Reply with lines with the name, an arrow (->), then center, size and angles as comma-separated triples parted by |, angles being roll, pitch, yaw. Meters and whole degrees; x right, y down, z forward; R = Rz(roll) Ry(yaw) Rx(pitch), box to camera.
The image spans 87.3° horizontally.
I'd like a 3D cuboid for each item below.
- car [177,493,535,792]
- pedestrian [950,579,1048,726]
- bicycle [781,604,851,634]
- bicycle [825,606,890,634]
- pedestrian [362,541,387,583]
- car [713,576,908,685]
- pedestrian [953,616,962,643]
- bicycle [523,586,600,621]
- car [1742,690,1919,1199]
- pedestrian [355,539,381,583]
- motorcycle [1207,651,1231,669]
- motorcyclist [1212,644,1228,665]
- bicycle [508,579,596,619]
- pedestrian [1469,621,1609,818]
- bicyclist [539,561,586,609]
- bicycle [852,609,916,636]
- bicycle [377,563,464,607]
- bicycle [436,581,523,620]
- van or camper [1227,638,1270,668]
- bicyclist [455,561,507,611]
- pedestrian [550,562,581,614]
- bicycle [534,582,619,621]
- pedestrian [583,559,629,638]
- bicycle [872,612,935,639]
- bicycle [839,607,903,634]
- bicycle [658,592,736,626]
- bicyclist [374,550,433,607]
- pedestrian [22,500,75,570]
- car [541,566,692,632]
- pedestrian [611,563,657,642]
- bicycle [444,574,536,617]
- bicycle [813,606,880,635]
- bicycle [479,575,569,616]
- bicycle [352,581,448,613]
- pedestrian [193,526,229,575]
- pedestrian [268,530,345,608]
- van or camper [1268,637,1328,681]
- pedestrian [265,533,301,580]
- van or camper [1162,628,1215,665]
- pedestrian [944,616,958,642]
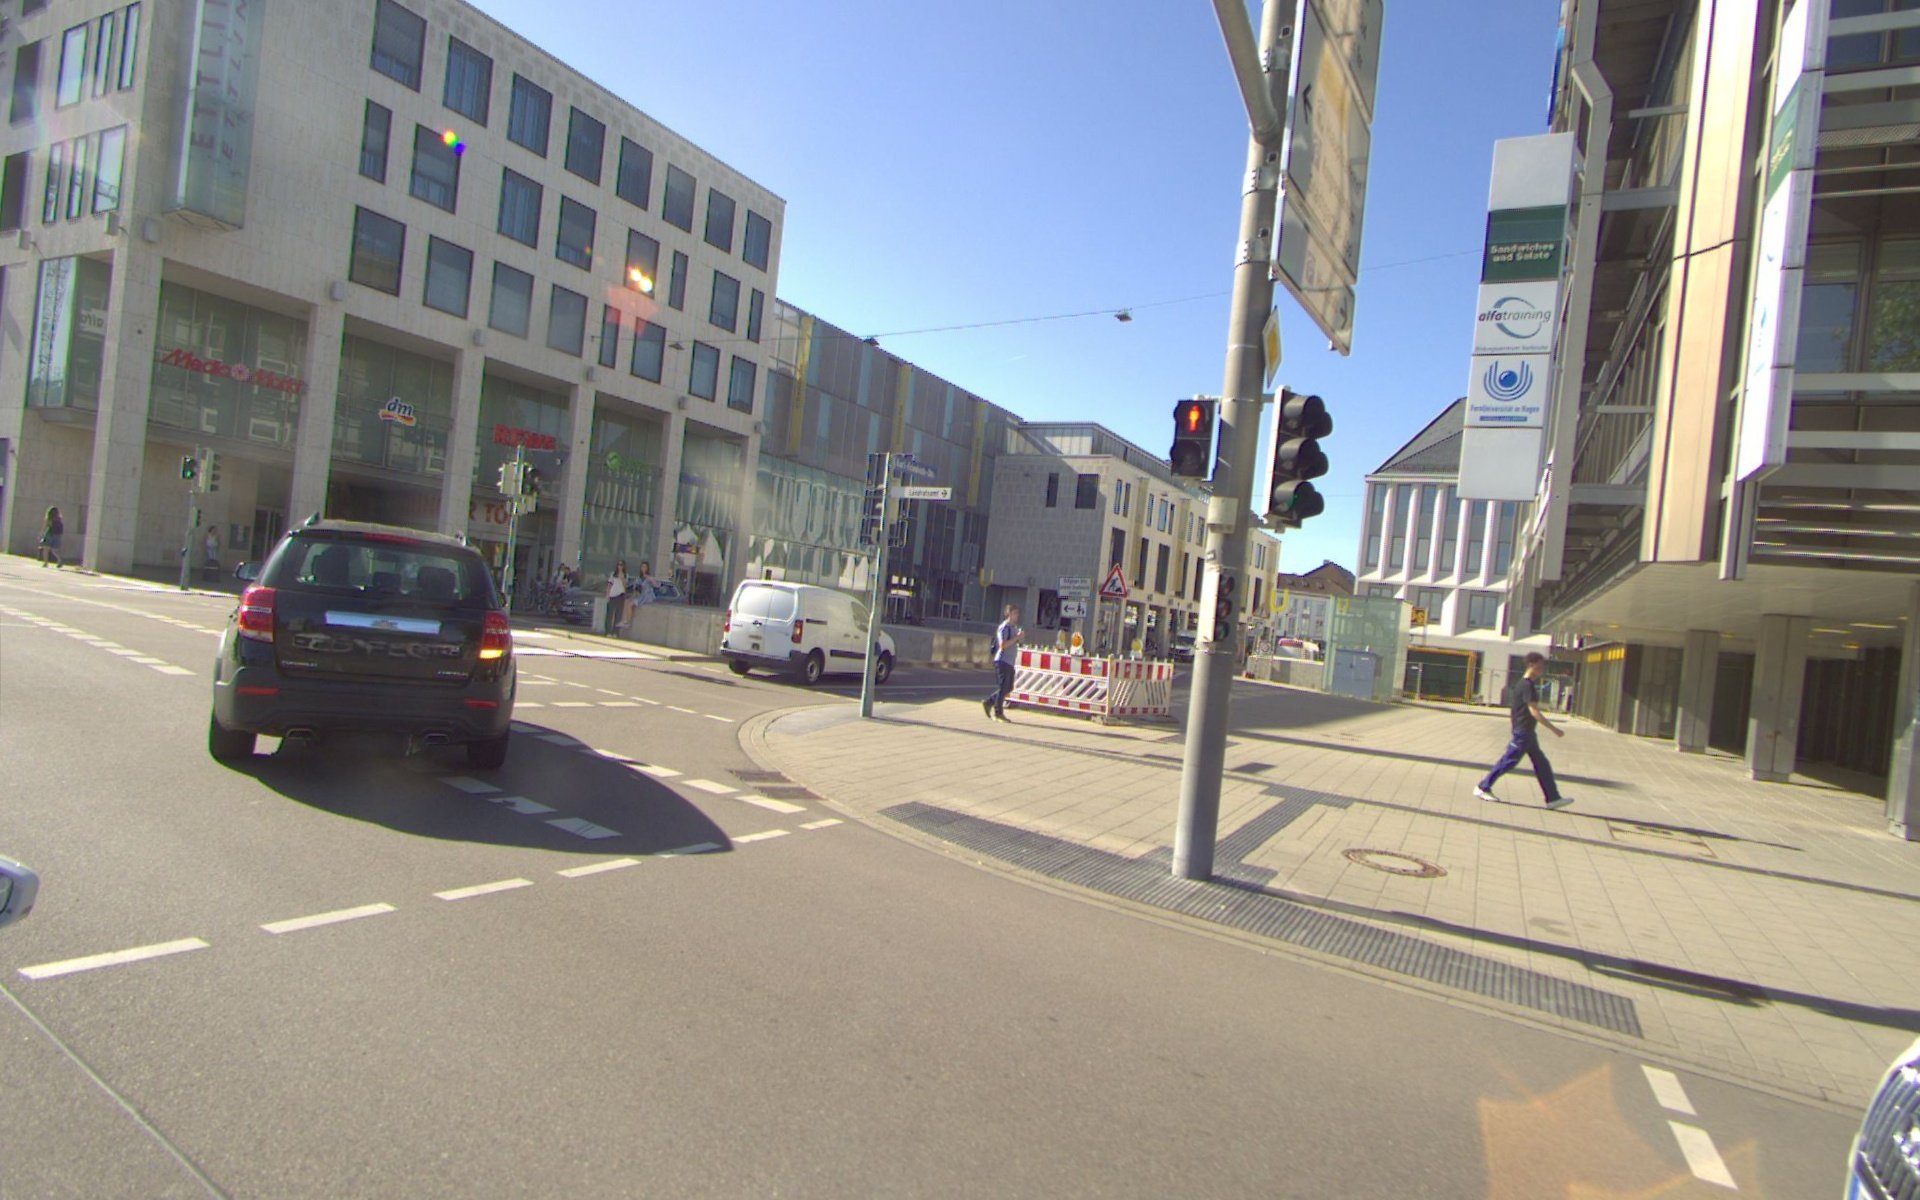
car -> -4.817, 0.245, 8.194 | 1.772, 1.719, 4.378 | 7, -1, -31
pedestrian -> 0.608, 0.789, 15.221 | 1.059, 2.038, 0.950 | 6, 0, 17
bicycle -> -7.168, 0.946, 49.997 | 3.439, 1.107, 1.067 | 6, -1, 31
bicycle -> -5.474, 1.052, 53.644 | 3.439, 1.107, 1.067 | 6, -1, 31
pedestrian -> -25.779, -1.662, 44.311 | 0.639, 1.784, 0.556 | 7, 1, -8
car -> -2.786, 0.666, 19.808 | 1.758, 1.754, 4.163 | 7, -1, 22
pedestrian -> -0.148, 1.944, 66.448 | 0.290, 1.704, 0.337 | 7, 0, 37
bicycle -> -13.523, 0.121, 34.177 | 1.013, 0.943, 2.196 | 6, -1, 32
car -> 3.655, 1.196, 0.893 | 4.337, 1.633, 1.823 | 6, -1, 29
pedestrian -> -25.654, -1.683, 43.603 | 0.639, 1.784, 0.556 | 7, 1, -8
motorcycle -> 18.617, 4.289, 72.225 | 0.782, 1.111, 2.959 | 5, -2, 31
motorcyclist -> 18.668, 3.915, 72.228 | 0.782, 1.399, 1.081 | 5, -1, 31
bicycle -> -15.087, -0.056, 37.150 | 3.439, 1.107, 1.067 | 6, -1, 31
pedestrian -> 6.633, 1.340, 11.603 | 1.059, 2.038, 0.949 | 7, 0, 21
bicyclist -> -13.472, -0.510, 34.126 | 1.023, 1.451, 0.934 | 6, 0, 32
bicycle -> -4.222, 1.234, 55.663 | 3.439, 1.107, 1.067 | 6, -1, 31
bicycle -> -17.818, -0.511, 33.206 | 2.941, 1.107, 1.068 | 6, -1, 30
bicycle -> -15.050, 0.031, 31.561 | 1.054, 0.955, 2.196 | 6, -1, 32
van or camper -> 28.908, 5.369, 100.752 | 2.143, 2.544, 6.412 | 6, -1, 33
bicyclist -> -15.014, -0.439, 31.520 | 1.059, 1.413, 0.934 | 6, 0, 32
pedestrian -> -15.391, -0.456, 39.283 | 0.726, 1.931, 0.637 | 6, 0, 6
bicycle -> -14.565, 0.047, 38.163 | 3.439, 1.107, 1.067 | 6, -1, 31
pedestrian -> -7.608, -0.026, 21.642 | 0.517, 1.634, 0.661 | 6, 2, 20
bicycle -> -3.198, 1.424, 56.923 | 3.439, 1.107, 1.067 | 6, -1, 31
bicycle -> -4.841, 1.112, 54.677 | 3.439, 1.107, 1.067 | 6, -1, 31
bicycle -> -11.412, 0.377, 43.610 | 3.439, 1.107, 1.067 | 6, -1, 31
bicyclist -> -16.277, -0.629, 29.446 | 1.054, 1.494, 1.023 | 6, 0, 32
pedestrian -> -25.487, -1.813, 28.123 | 1.048, 1.825, 0.728 | 6, 2, 28
car -> -10.571, 0.023, 31.239 | 1.830, 1.632, 4.192 | 4, -2, 30
pedestrian -> -6.975, 0.056, 21.547 | 0.517, 1.634, 0.661 | 6, 2, 20
bicycle -> -16.405, -0.176, 35.078 | 3.438, 1.107, 1.068 | 6, -1, 30
bicycle -> -5.946, 1.043, 52.533 | 3.439, 1.107, 1.067 | 6, -1, 31
bicycle -> -15.683, -0.178, 36.154 | 3.438, 1.107, 1.068 | 6, -1, 30
bicycle -> -16.348, -0.069, 29.411 | 1.054, 0.679, 2.196 | 6, -1, 32
pedestrian -> -26.809, -1.768, 35.996 | 0.547, 1.628, 0.749 | 7, 1, 27
pedestrian -> -16.805, -0.794, 25.882 | 1.496, 1.825, 0.968 | 6, 2, 28
van or camper -> 22.888, 4.049, 67.904 | 2.285, 2.544, 6.416 | 6, -1, 31
pedestrian -> -25.190, -1.609, 37.412 | 0.737, 1.628, 0.724 | 7, 1, 29
van or camper -> 18.578, 3.788, 81.647 | 2.141, 2.544, 6.417 | 6, -1, 30
pedestrian -> -0.613, 1.939, 67.493 | 0.563, 1.704, 0.536 | 6, 0, 21
